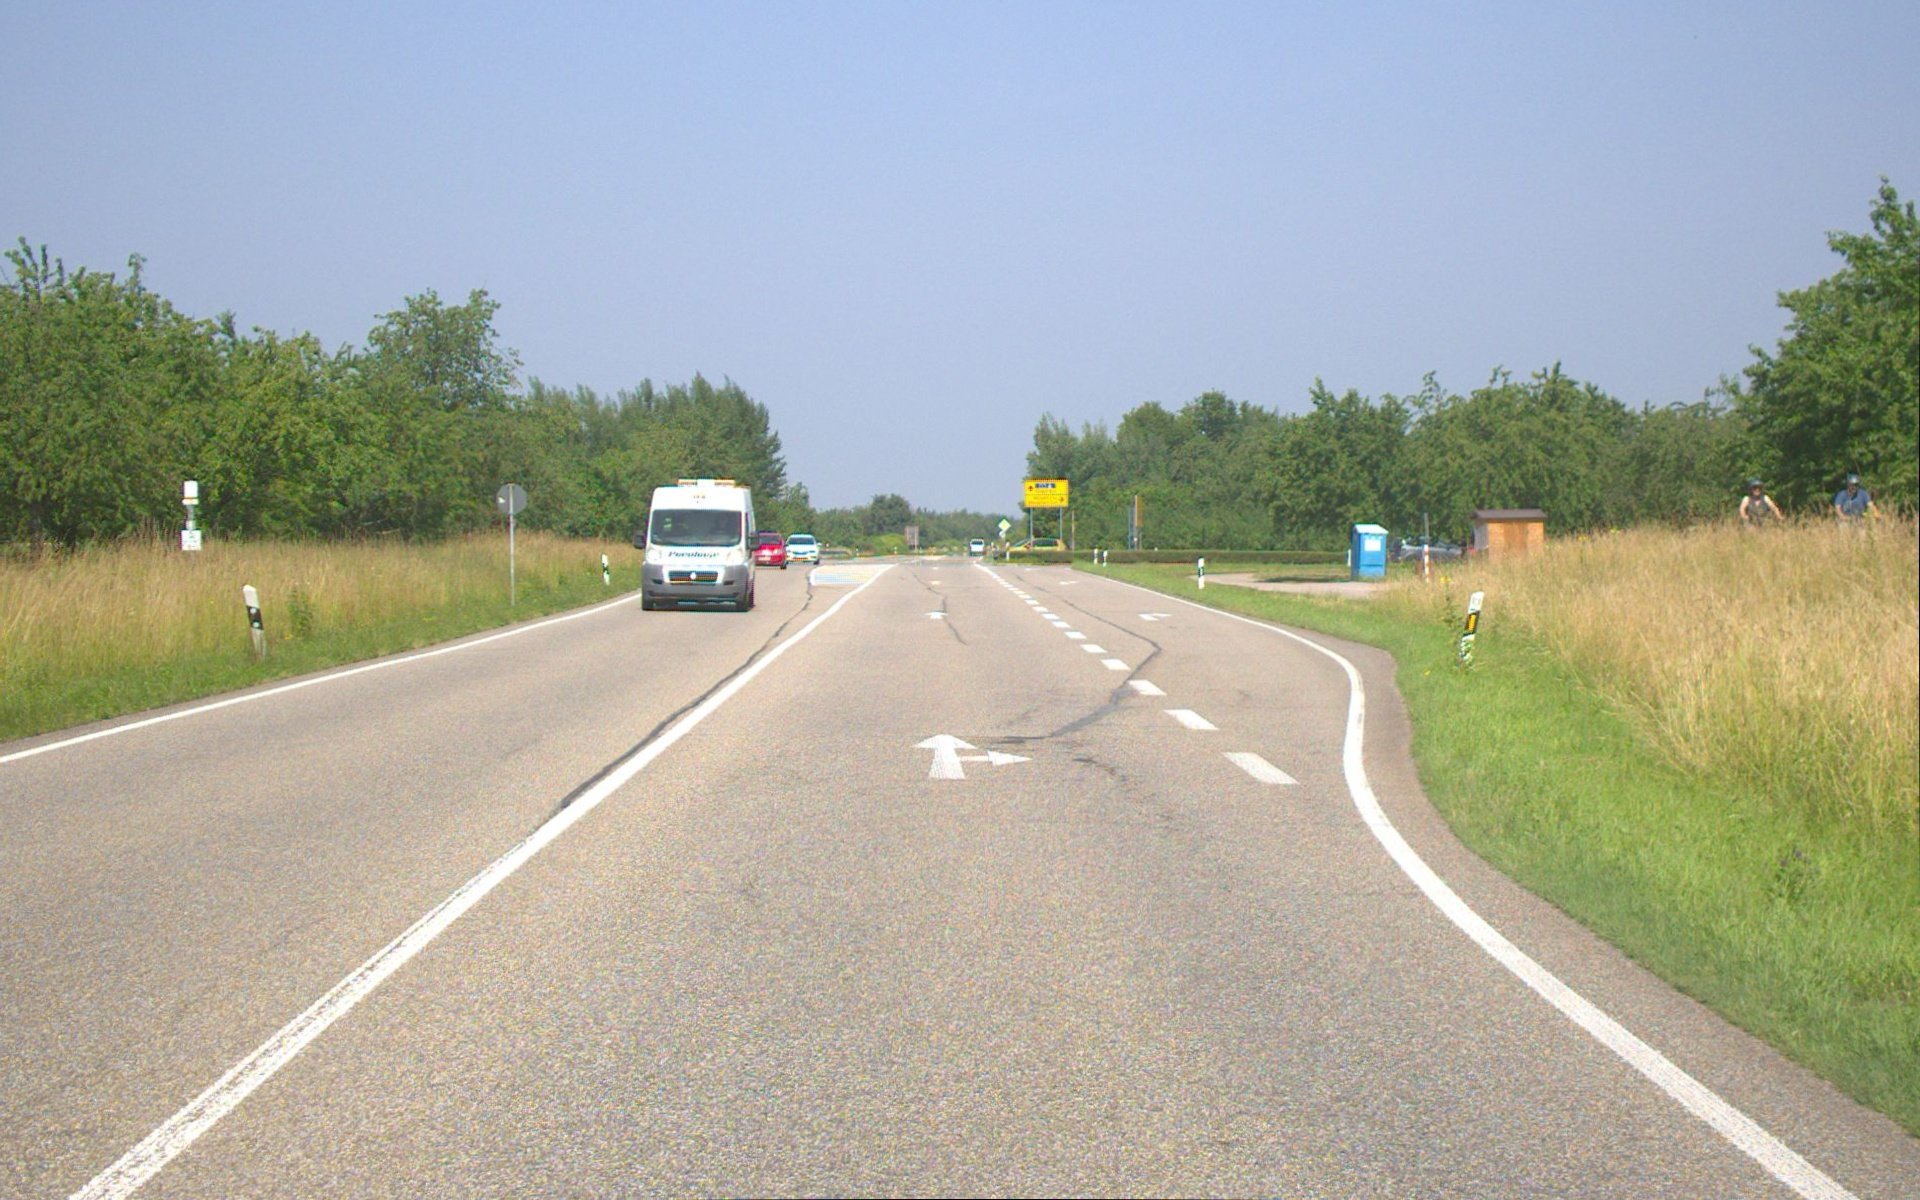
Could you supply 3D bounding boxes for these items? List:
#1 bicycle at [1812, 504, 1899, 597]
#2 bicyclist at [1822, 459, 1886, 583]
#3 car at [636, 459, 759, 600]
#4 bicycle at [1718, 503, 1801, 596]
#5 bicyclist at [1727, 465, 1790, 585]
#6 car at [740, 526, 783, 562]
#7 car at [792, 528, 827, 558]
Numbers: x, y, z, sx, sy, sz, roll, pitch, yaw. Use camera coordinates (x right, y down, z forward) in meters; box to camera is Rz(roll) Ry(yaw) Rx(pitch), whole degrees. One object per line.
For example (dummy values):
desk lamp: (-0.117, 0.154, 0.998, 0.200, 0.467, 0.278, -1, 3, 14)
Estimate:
bicycle: (14.008, -0.788, 53.840, 0.749, 1.413, 2.221, -1, 1, -1)
bicyclist: (14.004, -1.236, 53.841, 0.749, 1.923, 0.828, -1, 1, 0)
car: (-5.193, -1.378, 68.750, 2.161, 2.659, 6.144, 1, 1, -2)
bicycle: (12.553, -0.802, 54.042, 0.749, 1.413, 2.221, -1, 1, -1)
bicyclist: (12.555, -1.180, 54.055, 0.749, 1.860, 0.869, -1, 1, 0)
car: (-8.010, -2.273, 139.037, 1.625, 1.452, 3.622, 1, 1, -2)
car: (-7.522, -2.846, 171.916, 1.674, 1.489, 4.137, 0, 1, -2)
